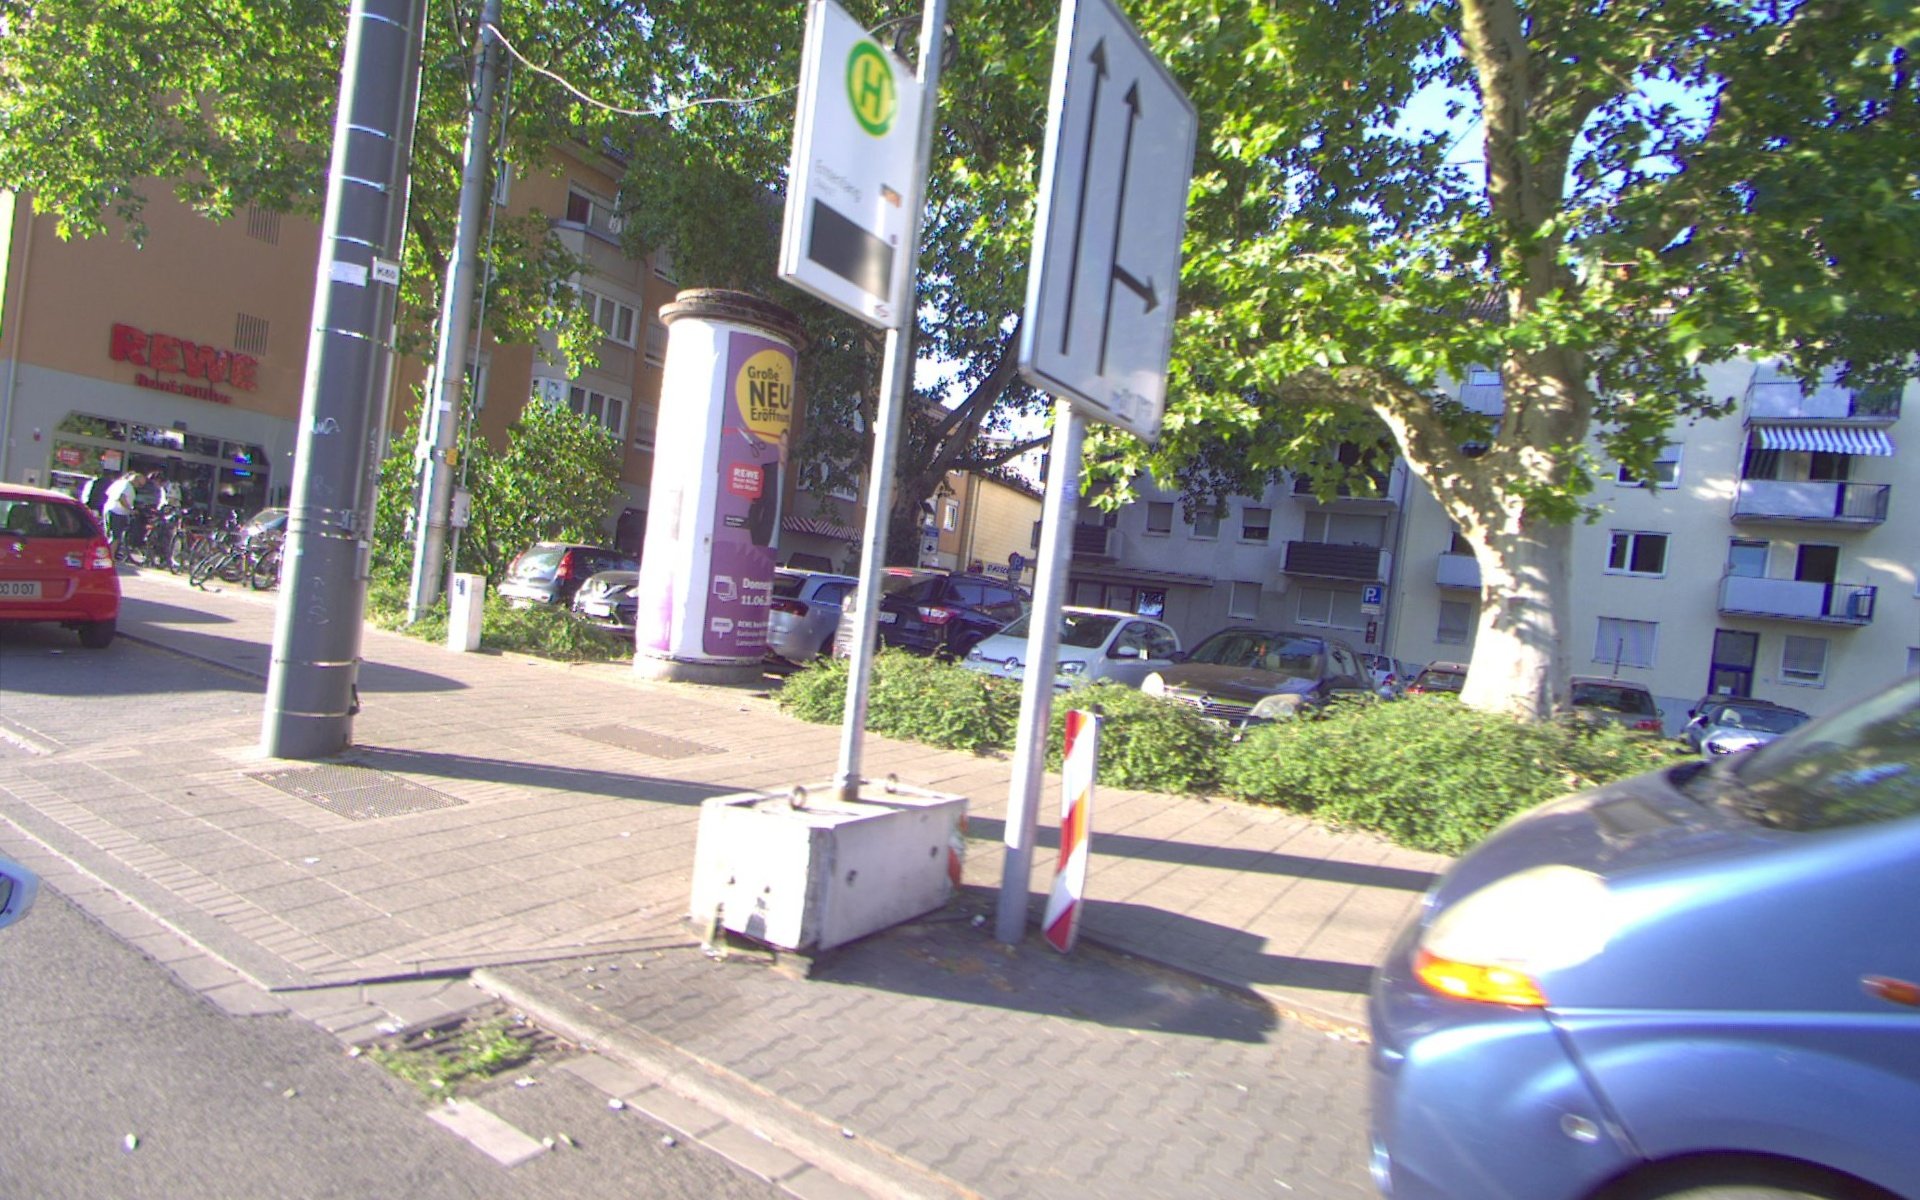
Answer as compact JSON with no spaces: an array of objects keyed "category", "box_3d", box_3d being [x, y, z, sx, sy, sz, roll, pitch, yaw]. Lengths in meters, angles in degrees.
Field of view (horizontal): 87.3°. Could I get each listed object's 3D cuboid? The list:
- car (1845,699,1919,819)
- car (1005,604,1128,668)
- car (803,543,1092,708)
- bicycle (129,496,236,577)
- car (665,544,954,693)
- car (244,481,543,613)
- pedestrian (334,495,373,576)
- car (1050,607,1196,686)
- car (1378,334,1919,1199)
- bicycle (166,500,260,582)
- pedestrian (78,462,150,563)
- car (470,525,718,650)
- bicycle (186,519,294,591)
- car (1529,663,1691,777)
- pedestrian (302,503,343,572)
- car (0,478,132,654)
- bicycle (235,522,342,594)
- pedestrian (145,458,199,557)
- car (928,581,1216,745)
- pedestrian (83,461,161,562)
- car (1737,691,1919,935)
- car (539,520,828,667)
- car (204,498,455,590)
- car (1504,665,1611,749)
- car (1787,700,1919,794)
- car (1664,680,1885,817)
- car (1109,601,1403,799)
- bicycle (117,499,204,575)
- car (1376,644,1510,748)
[{"category":"car","box_3d":[15.820,2.590,15.637,1.965,1.712,4.451,7,0,28]},{"category":"car","box_3d":[3.304,1.126,30.464,1.967,1.553,4.053,7,0,32]},{"category":"car","box_3d":[-0.006,0.421,13.273,1.826,1.650,3.846,7,-2,33]},{"category":"bicycle","box_3d":[-13.518,-1.072,17.547,0.640,1.242,1.581,7,0,-6]},{"category":"car","box_3d":[-1.973,0.339,14.291,1.826,1.511,3.848,7,-3,33]},{"category":"car","box_3d":[-10.953,-0.948,19.850,1.967,1.727,4.630,7,-3,31]},{"category":"pedestrian","box_3d":[-14.758,-1.558,24.503,0.466,1.905,0.574,6,1,-9]},{"category":"car","box_3d":[4.078,1.180,24.626,1.967,1.553,4.053,7,0,32]},{"category":"car","box_3d":[3.300,0.834,1.626,4.488,2.104,1.886,7,0,33]},{"category":"bicycle","box_3d":[-12.610,-0.970,17.034,0.637,1.242,1.578,6,1,-14]},{"category":"pedestrian","box_3d":[-15.834,-1.624,18.831,0.756,1.776,0.806,9,5,32]},{"category":"car","box_3d":[-6.072,-0.153,17.052,1.744,1.499,3.507,7,-3,31]},{"category":"bicycle","box_3d":[-11.657,-0.704,16.340,0.640,1.026,1.581,7,0,-6]},{"category":"car","box_3d":[11.631,2.067,18.292,1.965,1.553,4.289,7,0,28]},{"category":"pedestrian","box_3d":[-15.362,-1.488,24.233,0.413,1.587,0.638,7,1,2]},{"category":"car","box_3d":[-9.765,-0.461,9.739,3.565,1.514,1.570,7,2,31]},{"category":"bicycle","box_3d":[-10.864,-0.652,16.344,0.640,1.026,1.678,7,0,-6]},{"category":"pedestrian","box_3d":[-15.148,-1.770,19.337,0.639,1.807,0.528,8,5,25]},{"category":"car","box_3d":[1.515,0.833,12.186,1.773,1.453,3.847,9,-1,33]},{"category":"pedestrian","box_3d":[-14.785,-1.552,17.744,0.972,1.659,0.659,8,5,25]},{"category":"car","box_3d":[7.799,1.645,8.243,1.773,1.513,4.115,7,0,33]},{"category":"car","box_3d":[-4.124,-0.014,15.670,1.825,1.618,4.032,7,-3,31]},{"category":"car","box_3d":[-13.252,-1.128,21.385,1.967,1.449,4.019,4,-2,31]},{"category":"car","box_3d":[13.628,2.386,23.148,1.786,1.514,3.877,7,0,28]},{"category":"car","box_3d":[18.783,2.982,20.572,1.948,1.514,4.289,7,0,28]},{"category":"car","box_3d":[13.543,2.357,17.046,1.965,1.712,4.289,7,0,28]},{"category":"car","box_3d":[3.346,0.994,10.774,1.773,1.513,4.115,7,0,33]},{"category":"bicycle","box_3d":[-14.208,-1.096,17.916,0.396,1.242,1.518,7,0,-8]},{"category":"car","box_3d":[9.501,1.819,19.645,1.965,1.553,4.289,7,0,28]}]
